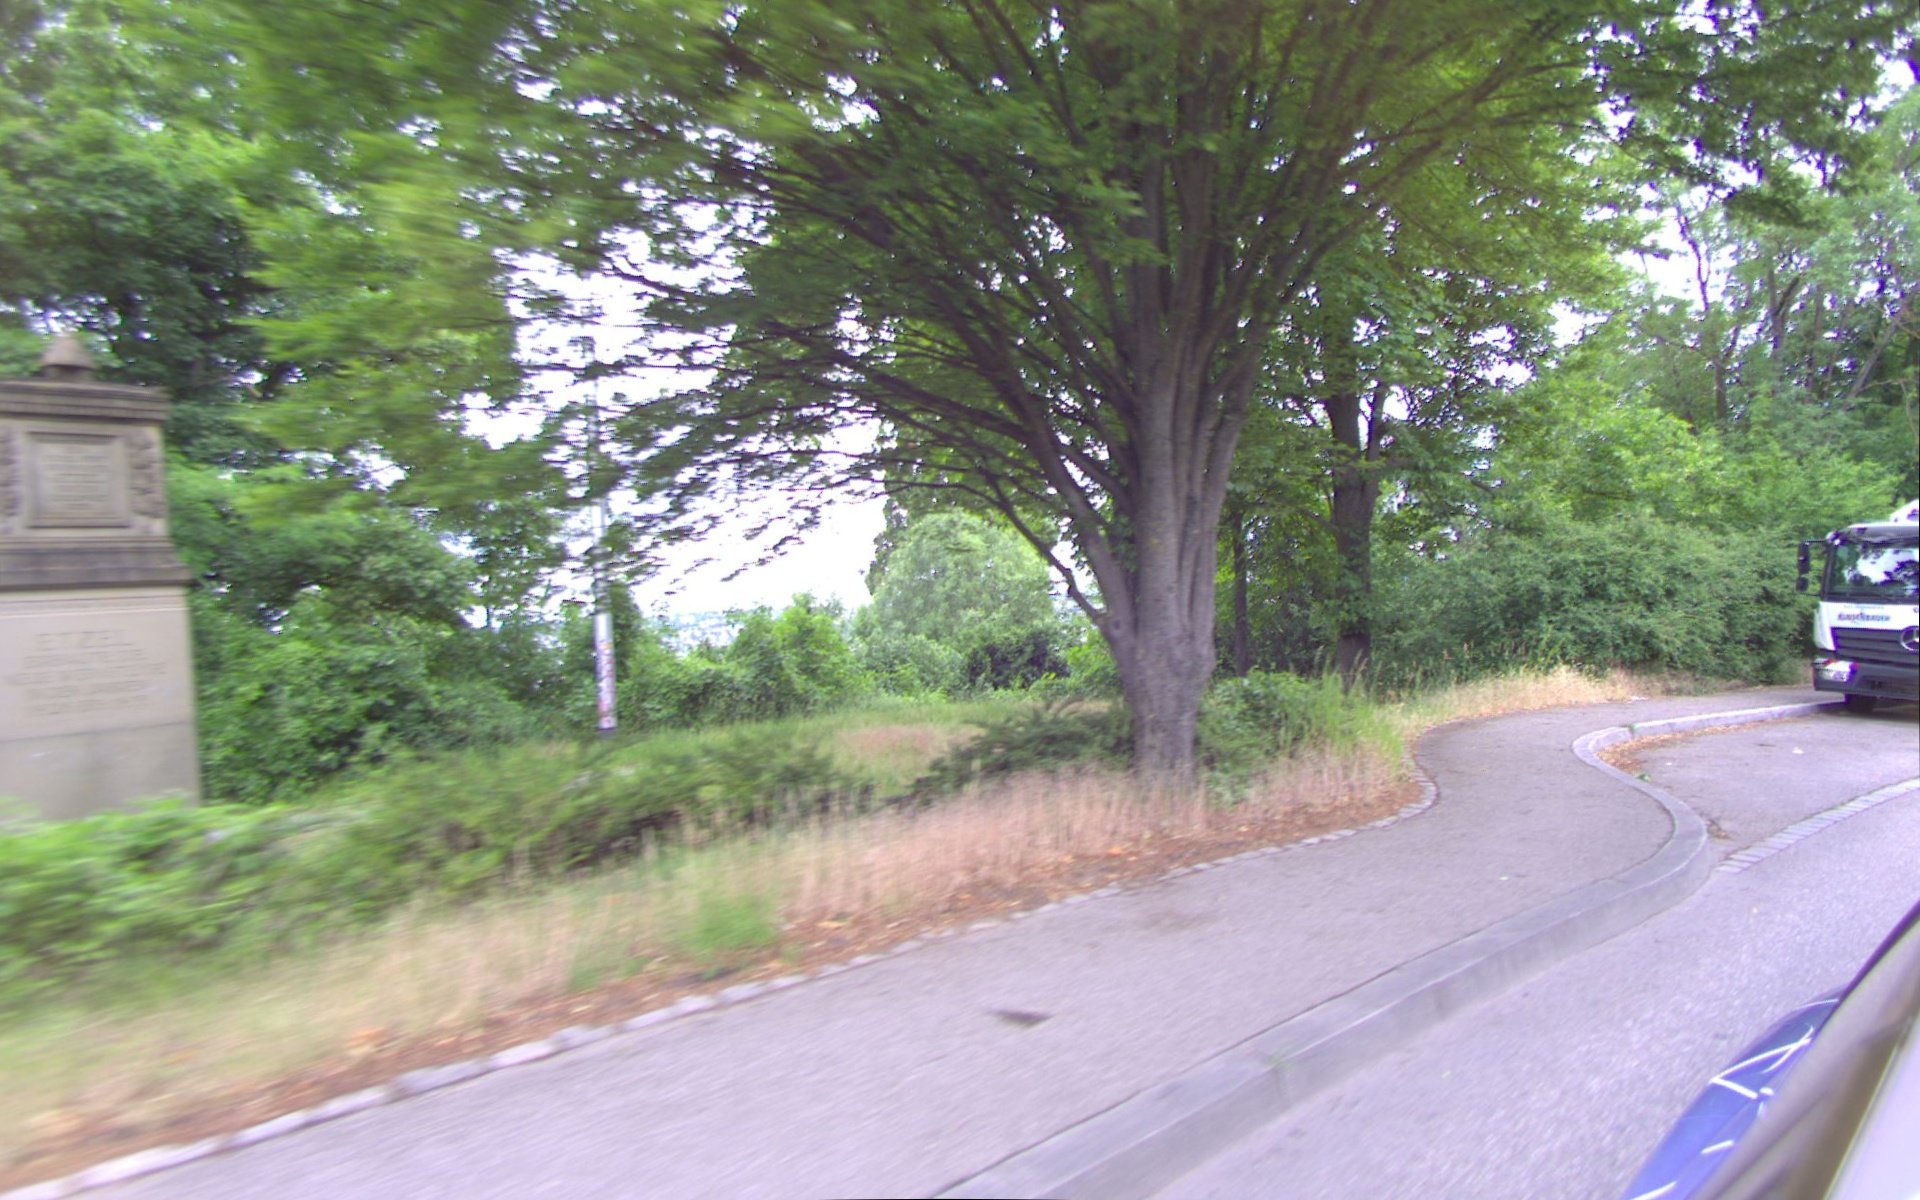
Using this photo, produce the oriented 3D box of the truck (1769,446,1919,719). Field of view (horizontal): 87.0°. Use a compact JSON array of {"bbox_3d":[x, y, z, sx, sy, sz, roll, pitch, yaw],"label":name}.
[{"bbox_3d":[14.341,-0.221,13.845,7.082,3.222,2.493,0,0,-28],"label":"truck"}]
